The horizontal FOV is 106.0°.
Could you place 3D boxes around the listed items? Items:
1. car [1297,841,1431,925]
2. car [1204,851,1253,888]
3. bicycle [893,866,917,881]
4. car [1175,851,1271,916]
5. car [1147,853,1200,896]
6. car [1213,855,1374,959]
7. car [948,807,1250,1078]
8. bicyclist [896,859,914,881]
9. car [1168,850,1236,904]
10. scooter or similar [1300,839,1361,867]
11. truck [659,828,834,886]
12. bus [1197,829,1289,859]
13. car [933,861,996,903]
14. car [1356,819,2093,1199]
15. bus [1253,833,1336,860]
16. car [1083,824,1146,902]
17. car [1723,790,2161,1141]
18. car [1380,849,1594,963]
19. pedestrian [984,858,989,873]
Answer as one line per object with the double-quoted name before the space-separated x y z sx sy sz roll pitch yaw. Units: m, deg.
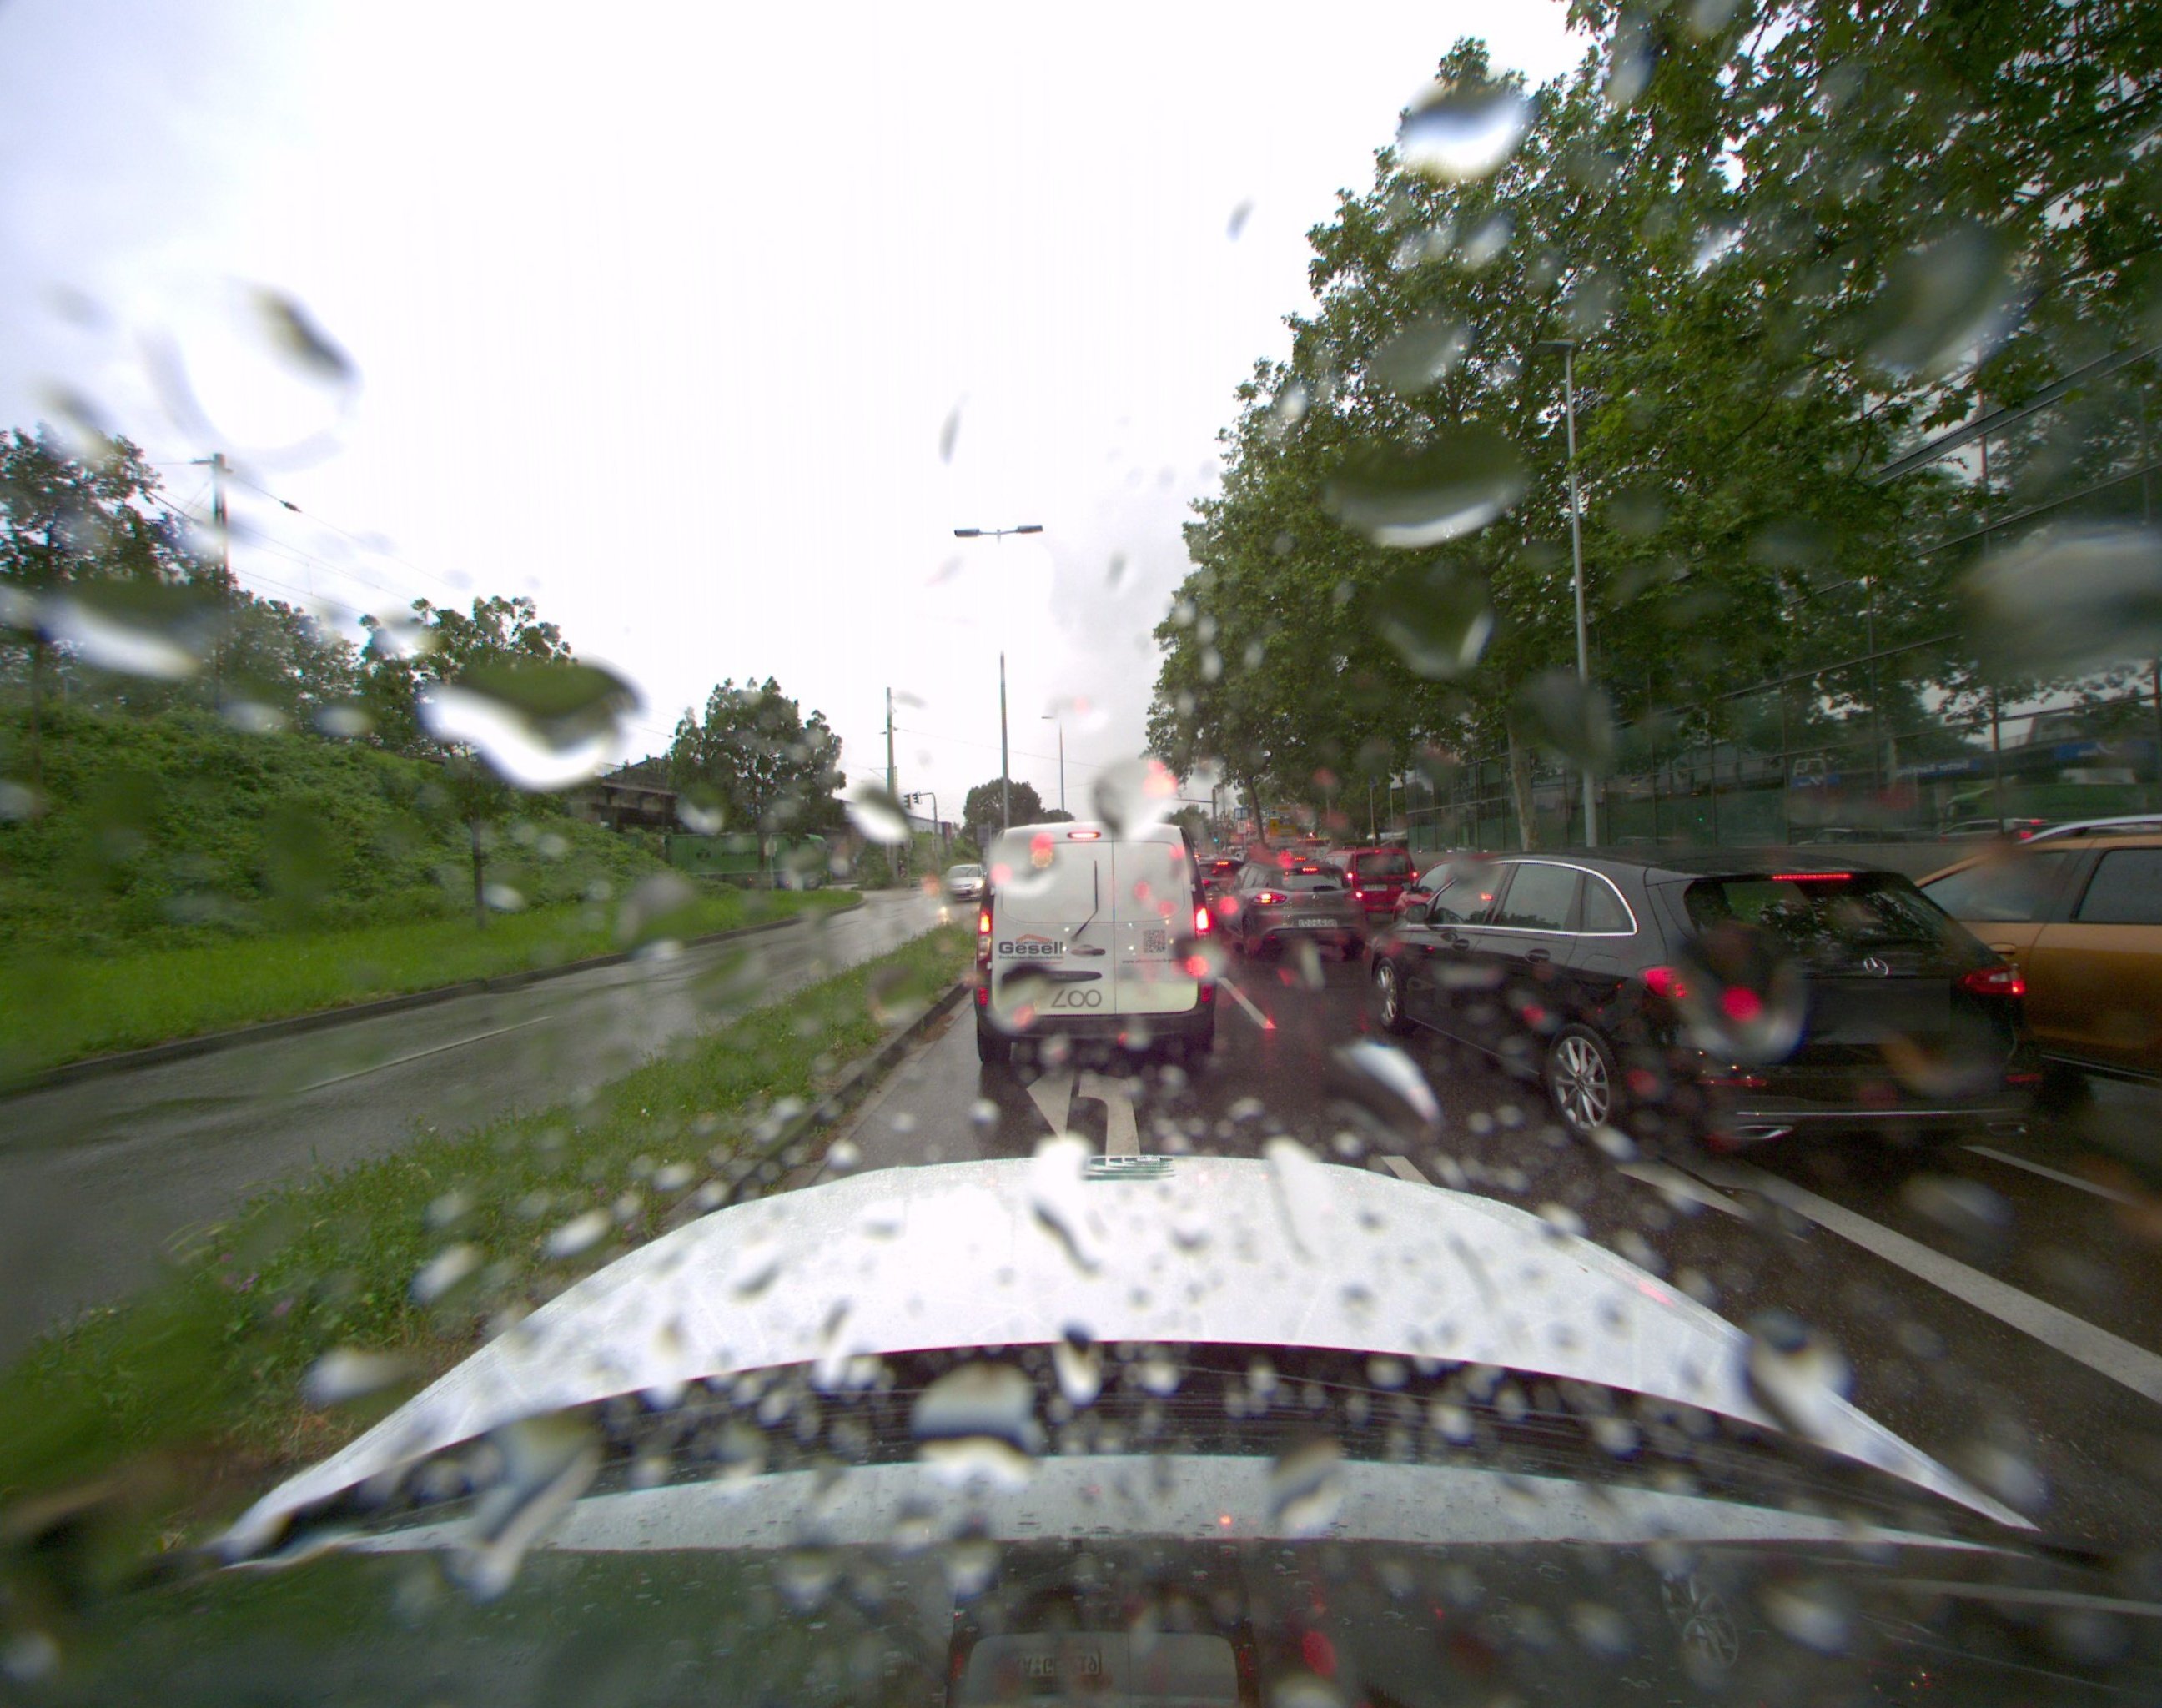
"car" 6.307 0.615 18.676 1.704 1.694 4.273 0 -1 2
"car" 6.896 0.708 38.454 1.702 1.650 3.844 -1 -1 2
"bicycle" -12.118 1.332 56.025 1.045 0.952 2.866 -2 0 -22
"car" 3.499 0.679 20.679 1.847 1.460 3.844 -1 0 2
"car" 3.751 0.812 33.571 1.847 1.650 3.844 -1 -1 2
"car" 3.247 0.739 13.184 1.677 1.408 3.844 0 0 1
"car" 0.192 0.589 7.769 1.986 1.776 4.587 -1 0 2
"bicyclist" -12.103 1.083 55.952 1.045 1.450 0.723 -2 0 -23
"car" 4.057 0.727 27.898 1.847 1.649 3.844 -1 0 2
"scooter or similar" 23.441 -0.085 76.684 1.905 2.446 5.257 -1 0 -39
"truck" -21.305 0.111 52.359 10.105 3.371 2.322 -2 0 -35
"bus" 21.881 -1.357 110.589 11.926 3.423 2.316 -2 0 1
"car" -4.703 1.094 33.436 1.810 1.462 4.001 -4 0 1
"car" 3.375 0.646 5.446 1.741 1.554 4.091 -1 0 1
"bus" 30.576 -1.084 116.365 12.005 3.423 2.468 -2 0 -18
"car" 1.073 0.263 26.531 1.847 2.296 3.844 -1 0 2
"car" 6.051 0.532 4.609 1.668 1.685 4.149 0 1 2
"car" 5.910 0.675 12.301 1.563 1.462 3.390 -1 0 1
"pedestrian" -11.252 1.367 96.600 0.541 1.716 0.563 0 -1 -2
